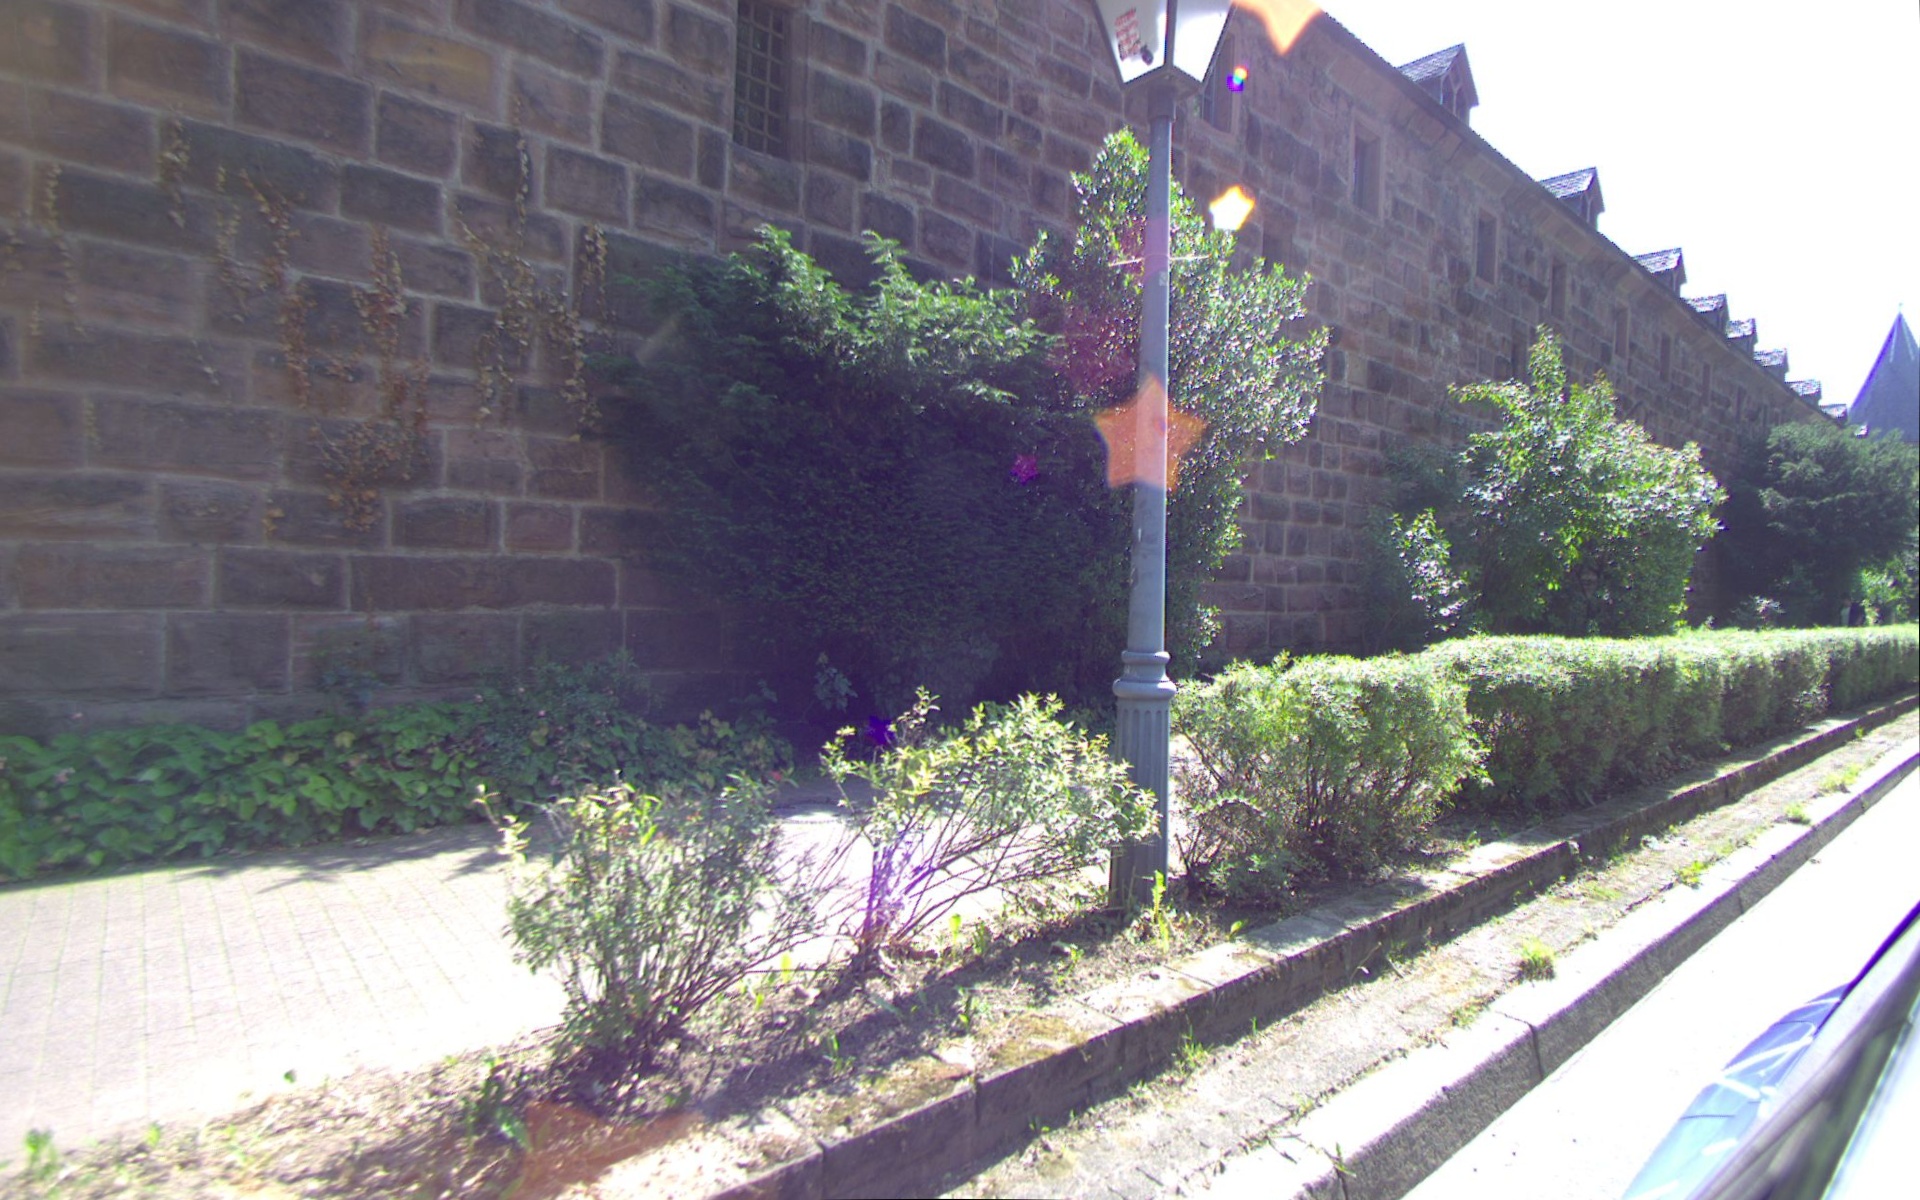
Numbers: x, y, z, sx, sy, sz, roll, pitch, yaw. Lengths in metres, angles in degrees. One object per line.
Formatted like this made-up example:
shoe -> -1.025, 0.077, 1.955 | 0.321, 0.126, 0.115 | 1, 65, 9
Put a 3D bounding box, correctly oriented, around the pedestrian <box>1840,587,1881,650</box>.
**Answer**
pedestrian -> 24.284, 0.493, 27.281 | 0.692, 1.673, 0.700 | 1, -1, -38
